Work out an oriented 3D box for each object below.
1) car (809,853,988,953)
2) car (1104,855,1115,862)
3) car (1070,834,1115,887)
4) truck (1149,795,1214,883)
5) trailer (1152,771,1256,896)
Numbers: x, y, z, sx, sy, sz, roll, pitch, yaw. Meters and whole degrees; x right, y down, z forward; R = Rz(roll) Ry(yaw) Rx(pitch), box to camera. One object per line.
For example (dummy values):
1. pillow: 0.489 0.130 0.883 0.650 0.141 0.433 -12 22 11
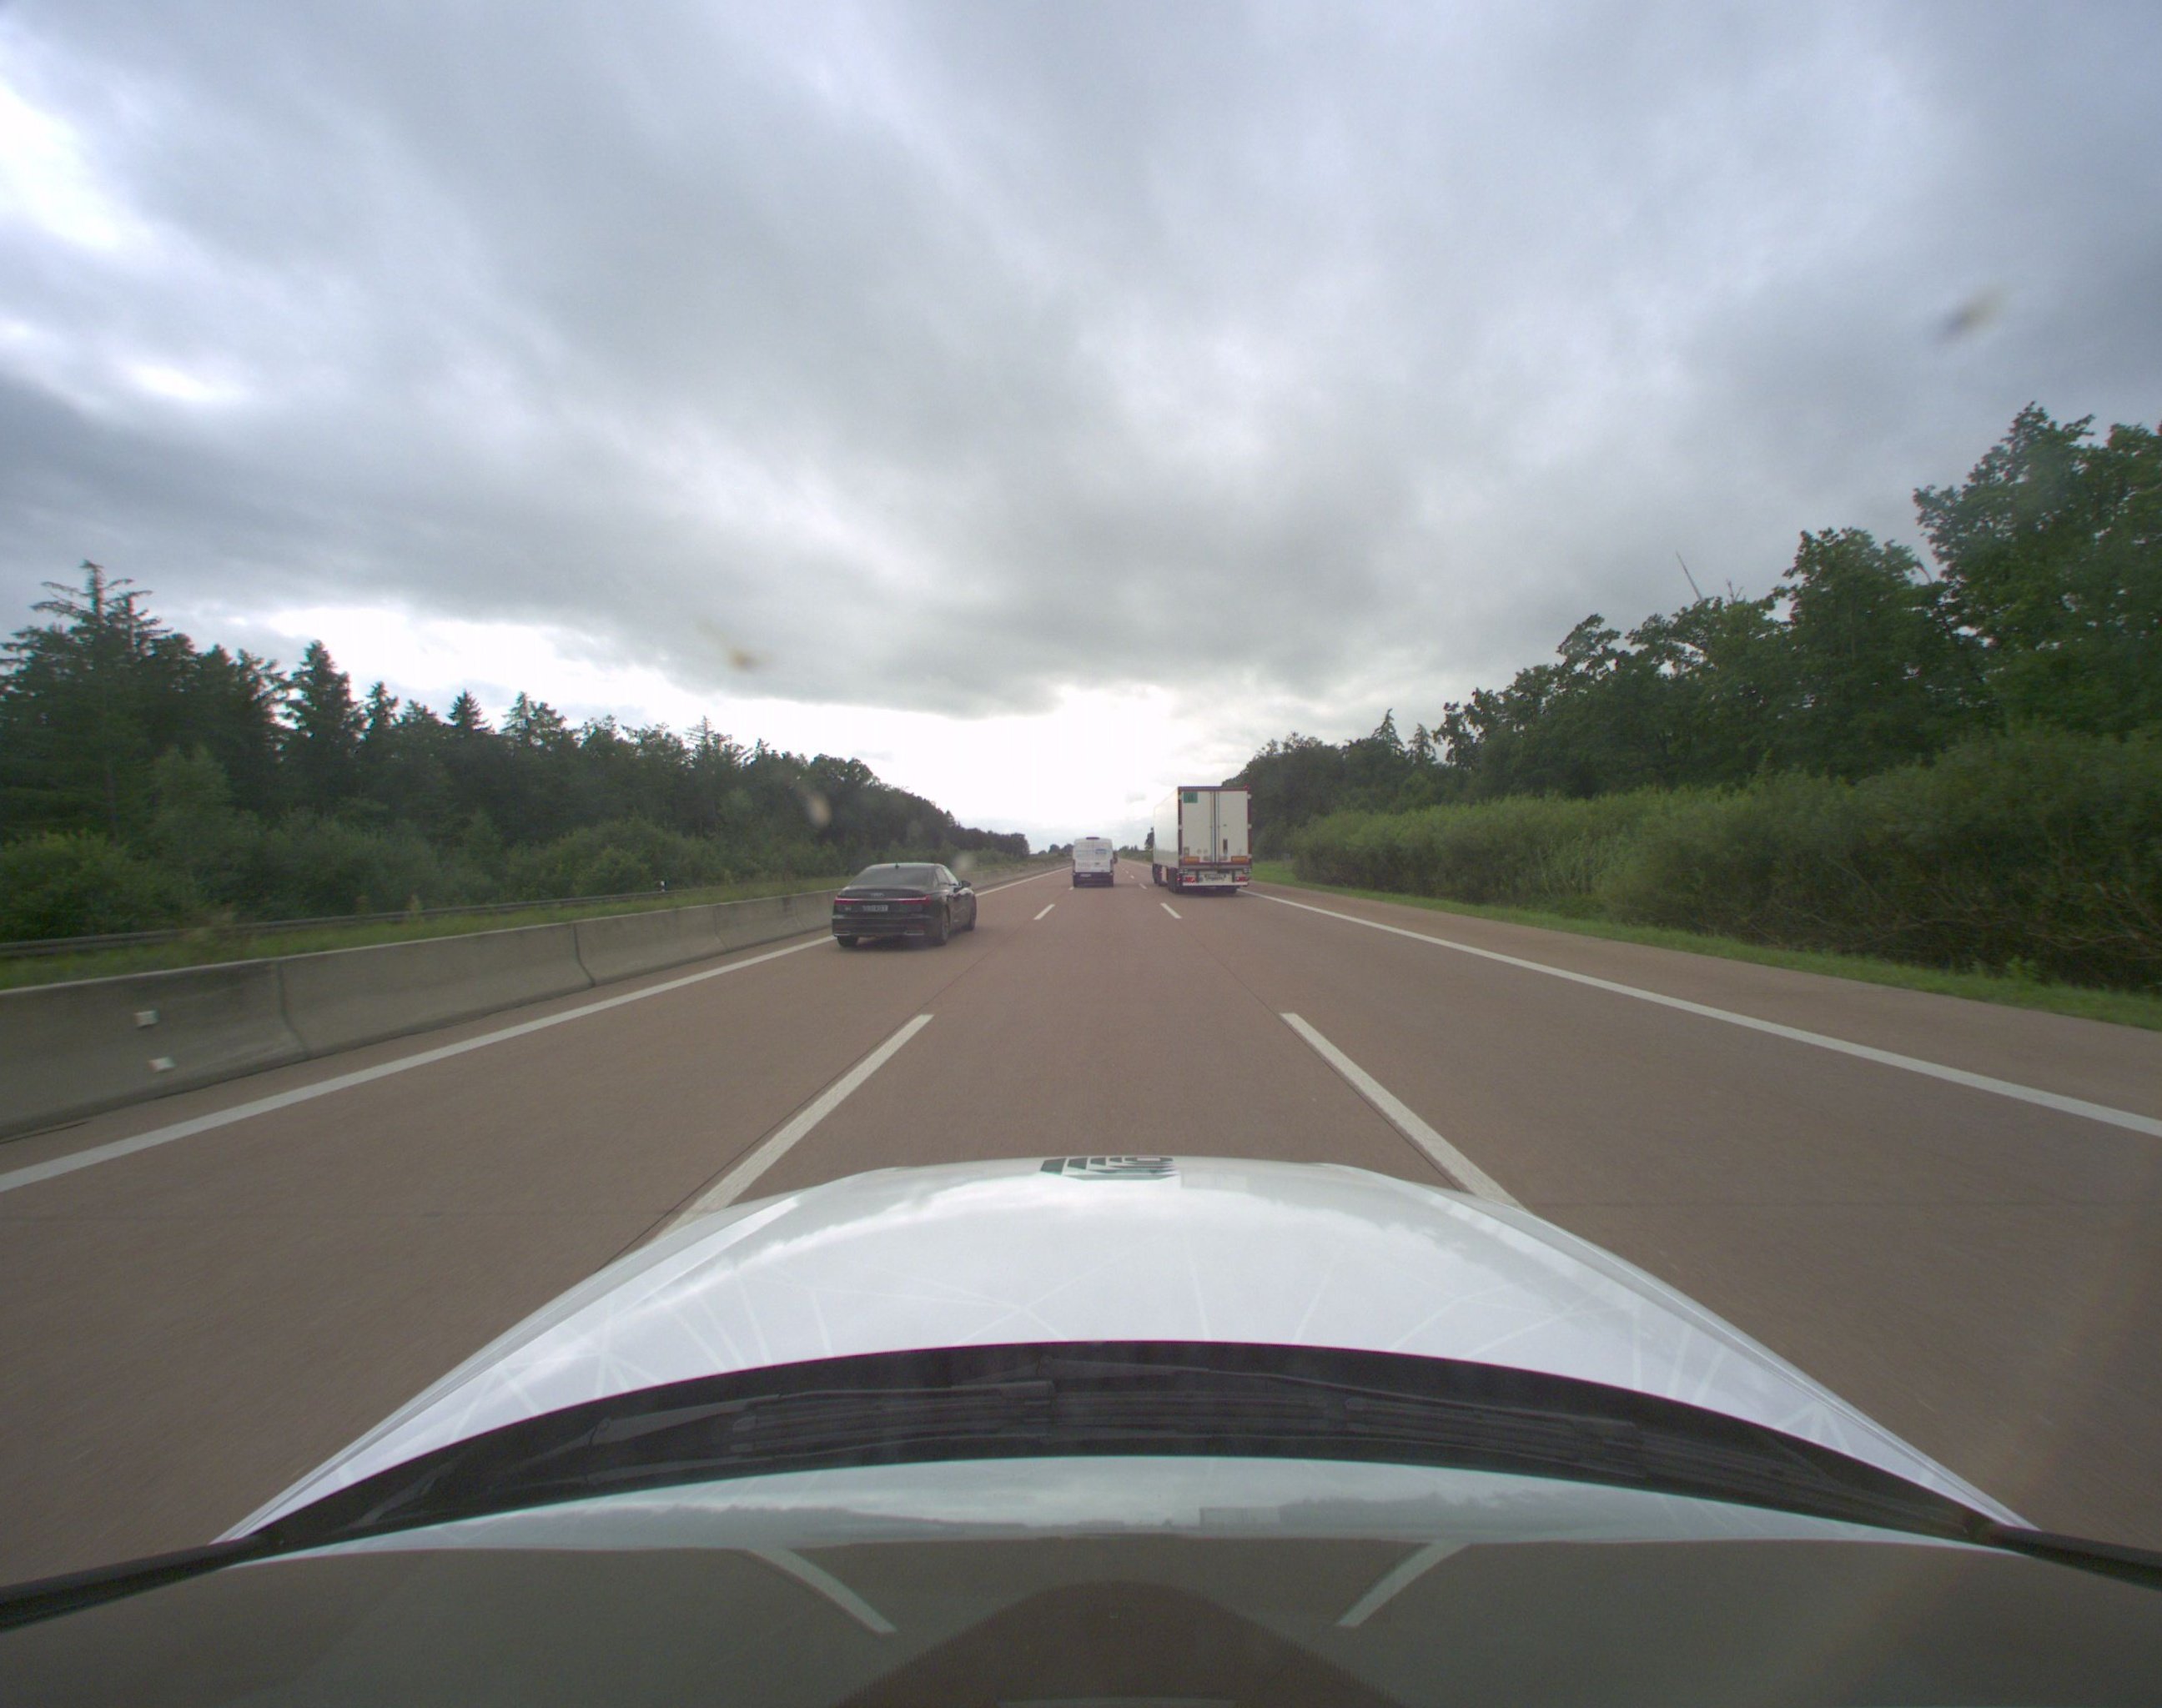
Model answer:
1. car: -3.208 0.769 15.721 2.078 1.550 5.675 0 0 1
2. car: 6.350 0.972 181.759 2.154 1.451 4.723 0 0 4
3. car: 0.687 0.273 42.588 2.129 2.507 7.135 -1 0 2
4. truck: 5.176 -0.720 42.773 2.910 4.294 5.337 -1 0 2
5. trailer: 4.885 -0.705 35.289 2.910 4.294 13.621 -1 0 2
